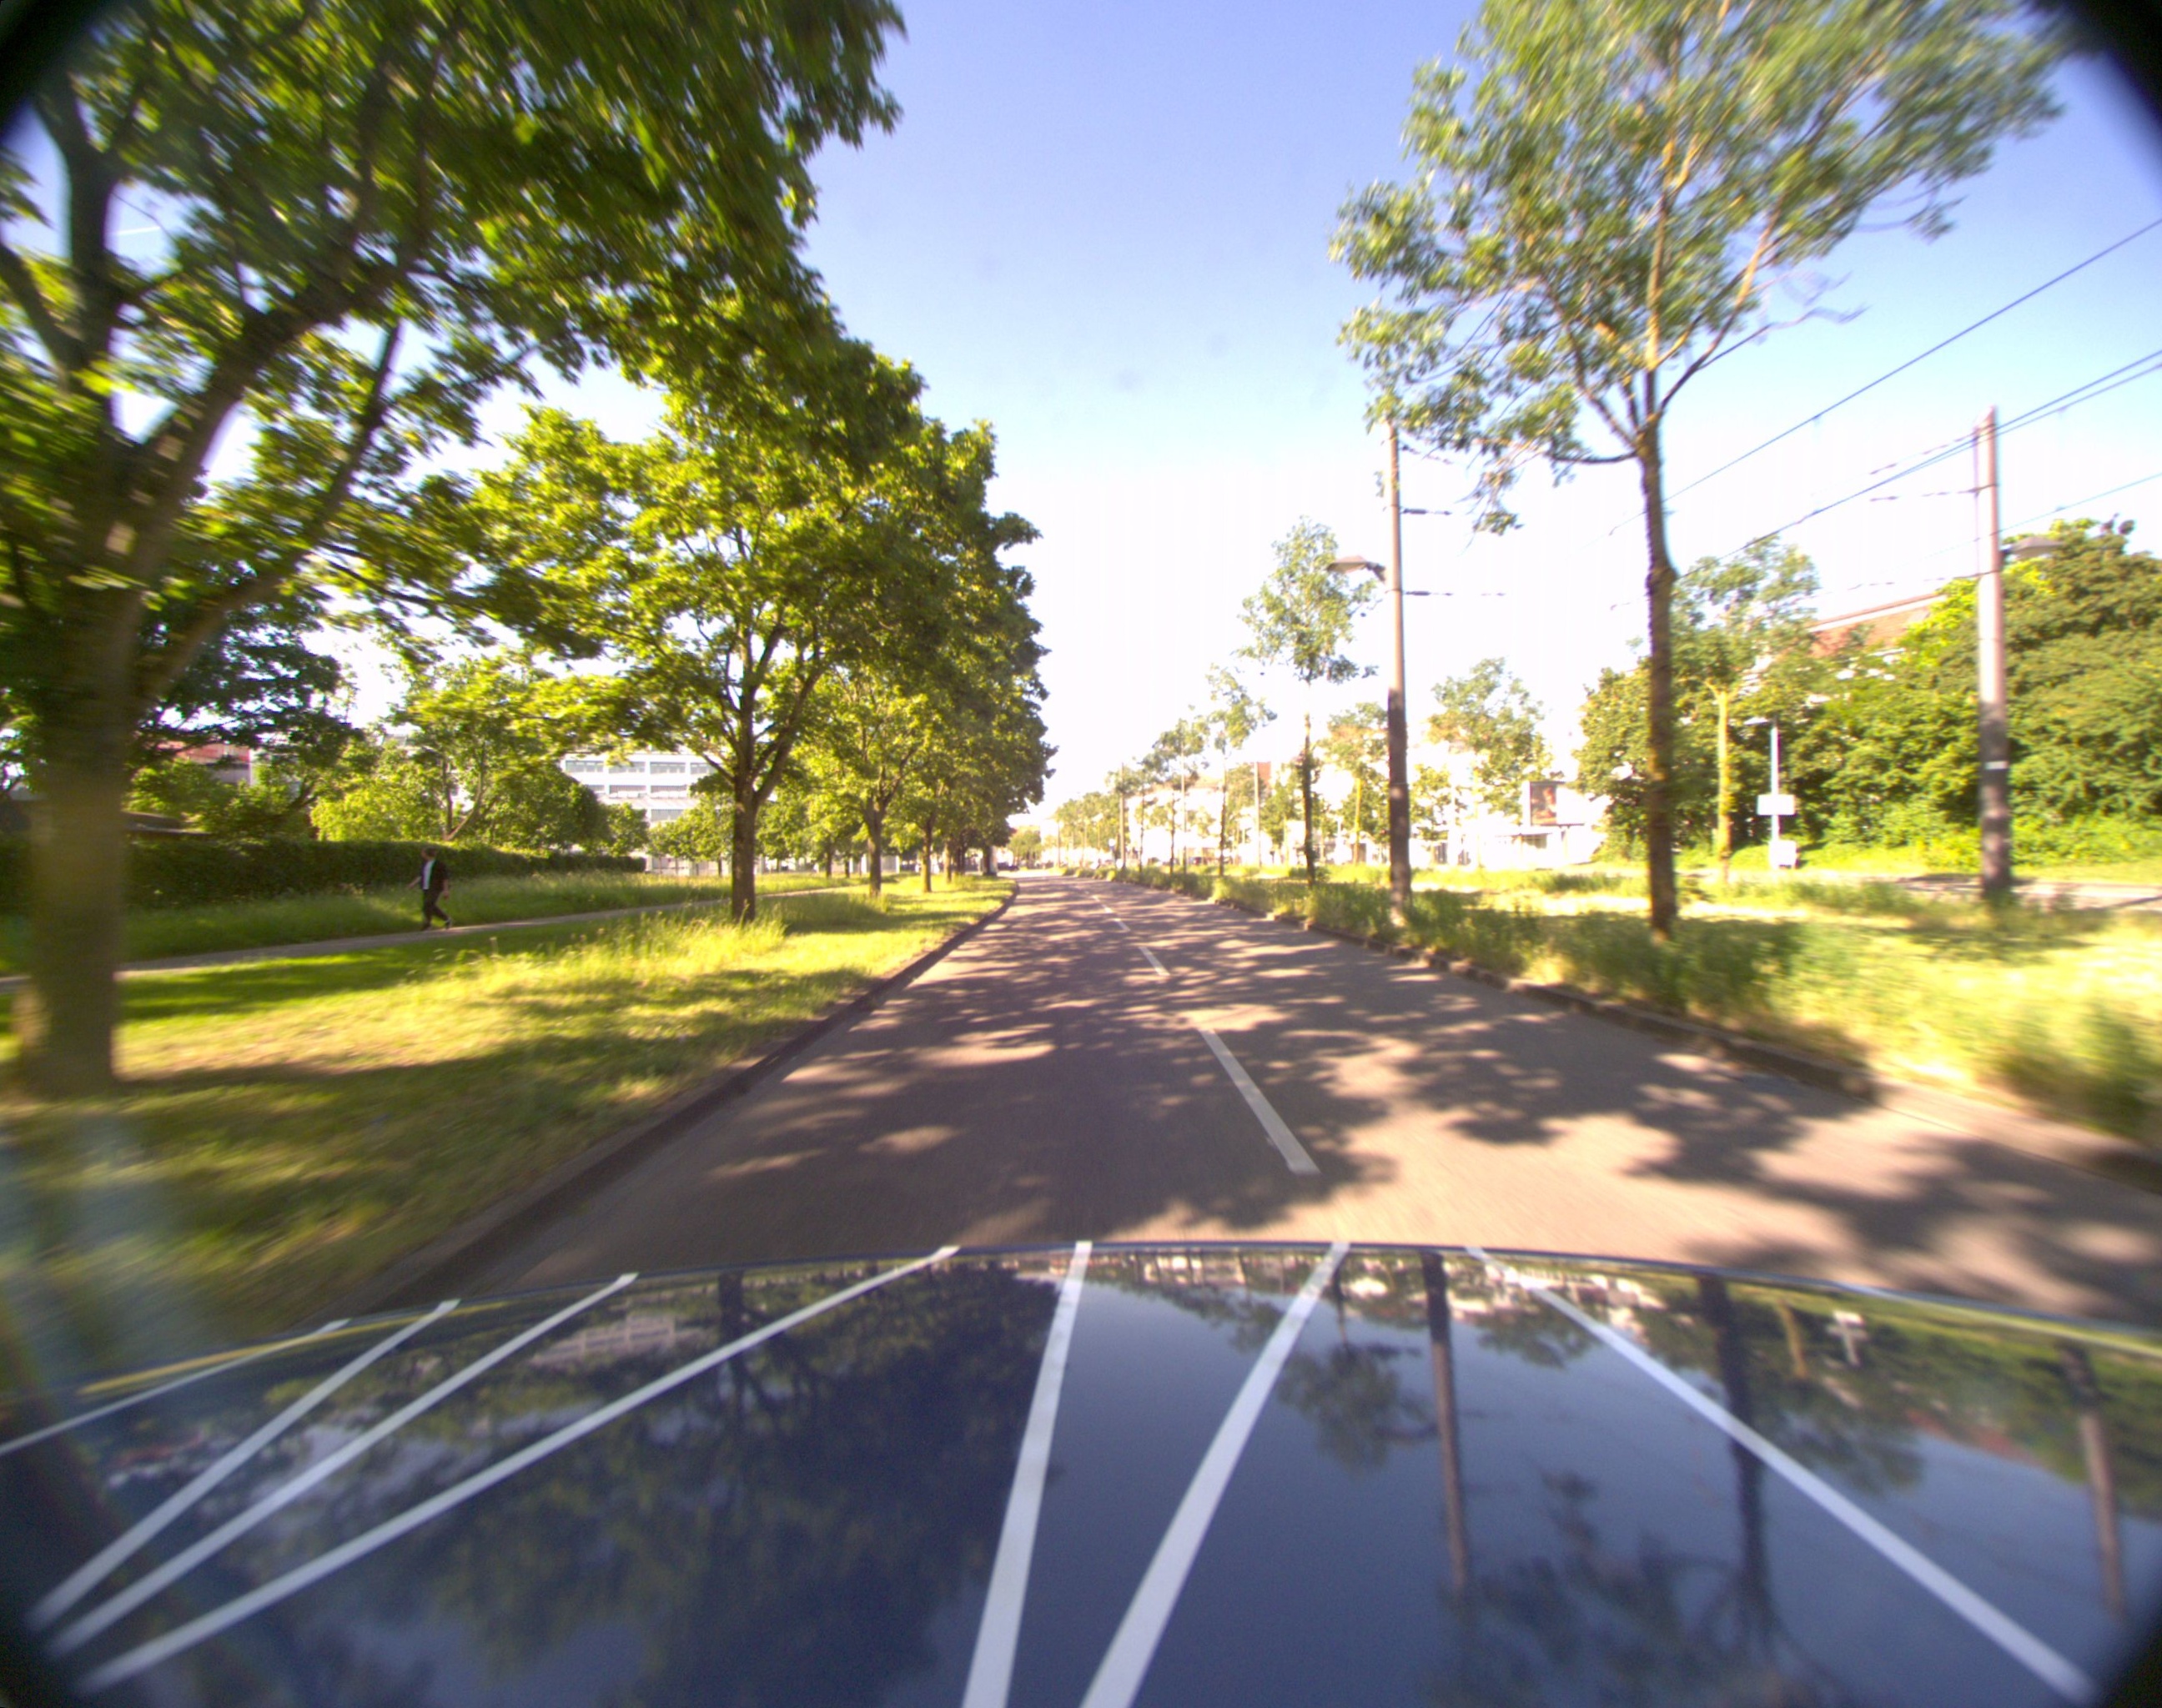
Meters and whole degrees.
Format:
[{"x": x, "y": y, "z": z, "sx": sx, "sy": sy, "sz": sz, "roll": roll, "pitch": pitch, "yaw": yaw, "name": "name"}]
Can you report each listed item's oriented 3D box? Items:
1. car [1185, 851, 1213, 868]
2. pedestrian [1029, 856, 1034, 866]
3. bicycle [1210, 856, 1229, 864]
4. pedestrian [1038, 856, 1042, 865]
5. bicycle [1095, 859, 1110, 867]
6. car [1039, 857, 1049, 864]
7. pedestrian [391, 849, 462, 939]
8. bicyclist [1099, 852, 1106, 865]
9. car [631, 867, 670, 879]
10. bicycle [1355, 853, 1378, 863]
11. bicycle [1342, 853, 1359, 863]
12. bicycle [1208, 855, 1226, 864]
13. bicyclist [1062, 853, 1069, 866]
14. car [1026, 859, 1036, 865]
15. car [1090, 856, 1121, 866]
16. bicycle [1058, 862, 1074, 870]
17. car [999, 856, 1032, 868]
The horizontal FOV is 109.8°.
[{"x": 13.833, "y": 0.673, "z": 89.169, "sx": 1.826, "sy": 1.630, "sz": 4.487, "roll": -1, "pitch": -3, "yaw": -11, "name": "car"}, {"x": -8.791, "y": 1.248, "z": 135.311, "sx": 0.641, "sy": 1.687, "sz": 0.607, "roll": -1, "pitch": 0, "yaw": -16, "name": "pedestrian"}, {"x": 20.132, "y": 0.893, "z": 110.115, "sx": 2.581, "sy": 1.152, "sz": 0.782, "roll": -1, "pitch": 0, "yaw": -14, "name": "bicycle"}, {"x": -7.427, "y": 1.179, "z": 137.706, "sx": 0.733, "sy": 1.687, "sz": 0.734, "roll": -1, "pitch": 0, "yaw": -12, "name": "pedestrian"}, {"x": 2.757, "y": 1.141, "z": 97.761, "sx": 1.828, "sy": 0.958, "sz": 0.816, "roll": -1, "pitch": 0, "yaw": -4, "name": "bicycle"}, {"x": -9.993, "y": 1.788, "z": 203.488, "sx": 1.695, "sy": 1.700, "sz": 4.235, "roll": -1, "pitch": 0, "yaw": -18, "name": "car"}, {"x": -13.479, "y": 0.800, "z": 15.661, "sx": 0.717, "sy": 1.793, "sz": 0.794, "roll": -1, "pitch": 0, "yaw": -1, "name": "pedestrian"}, {"x": 2.754, "y": 0.606, "z": 97.759, "sx": 0.715, "sy": 1.681, "sz": 0.816, "roll": -1, "pitch": 0, "yaw": -4, "name": "bicyclist"}, {"x": -58.243, "y": 2.584, "z": 102.836, "sx": 4.291, "sy": 1.411, "sz": 1.916, "roll": -1, "pitch": 0, "yaw": -21, "name": "car"}, {"x": 34.620, "y": 0.463, "z": 92.055, "sx": 2.553, "sy": 1.205, "sz": 0.719, "roll": -1, "pitch": 0, "yaw": -12, "name": "bicycle"}, {"x": 33.200, "y": 0.486, "z": 93.587, "sx": 0.720, "sy": 1.205, "sz": 2.550, "roll": -1, "pitch": 0, "yaw": -12, "name": "bicycle"}, {"x": 19.946, "y": 0.836, "z": 111.225, "sx": 2.581, "sy": 1.301, "sz": 0.662, "roll": -1, "pitch": 0, "yaw": -14, "name": "bicycle"}, {"x": -1.901, "y": 0.707, "z": 93.853, "sx": 0.715, "sy": 1.591, "sz": 0.849, "roll": -1, "pitch": 0, "yaw": -11, "name": "bicyclist"}, {"x": -14.459, "y": 2.199, "z": 218.250, "sx": 1.835, "sy": 1.700, "sz": 4.235, "roll": -1, "pitch": 0, "yaw": -18, "name": "car"}, {"x": 3.850, "y": 1.141, "z": 118.798, "sx": 4.192, "sy": 1.457, "sz": 2.331, "roll": -1, "pitch": 0, "yaw": -19, "name": "car"}, {"x": -1.850, "y": 1.514, "z": 93.864, "sx": 1.829, "sy": 0.958, "sz": 0.855, "roll": -1, "pitch": 0, "yaw": -11, "name": "bicycle"}, {"x": -9.830, "y": 1.181, "z": 113.871, "sx": 4.634, "sy": 1.613, "sz": 1.997, "roll": -1, "pitch": 1, "yaw": -16, "name": "car"}]
